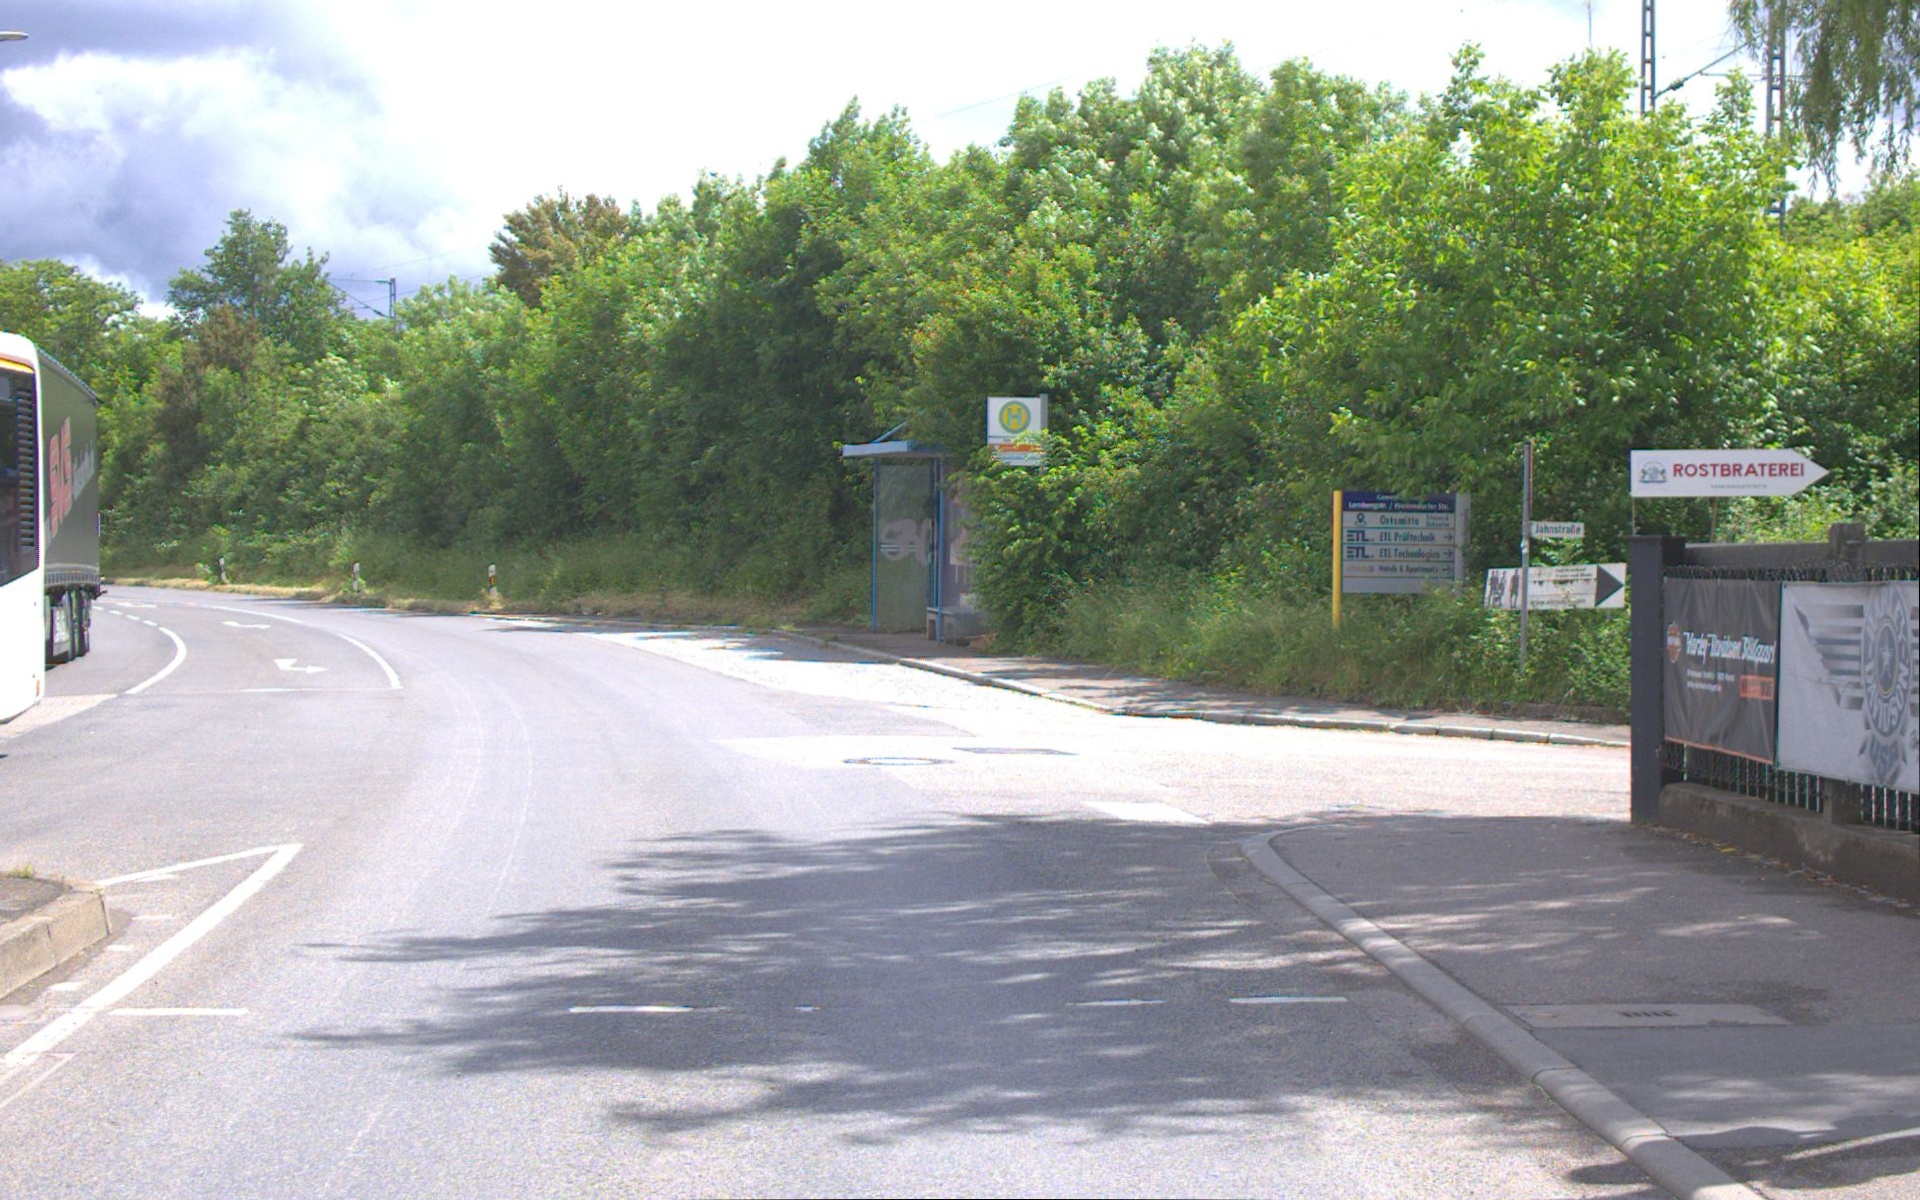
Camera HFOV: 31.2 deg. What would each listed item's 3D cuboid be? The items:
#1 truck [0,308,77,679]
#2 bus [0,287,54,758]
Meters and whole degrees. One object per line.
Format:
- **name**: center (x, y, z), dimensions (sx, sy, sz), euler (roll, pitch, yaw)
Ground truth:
- **truck**: center (-12.179, -1.231, 40.175), dimensions (2.428, 4.117, 9.152), euler (2, 0, -8)
- **bus**: center (-7.950, -0.471, 19.066), dimensions (2.777, 3.255, 12.124), euler (-1, 1, -1)
